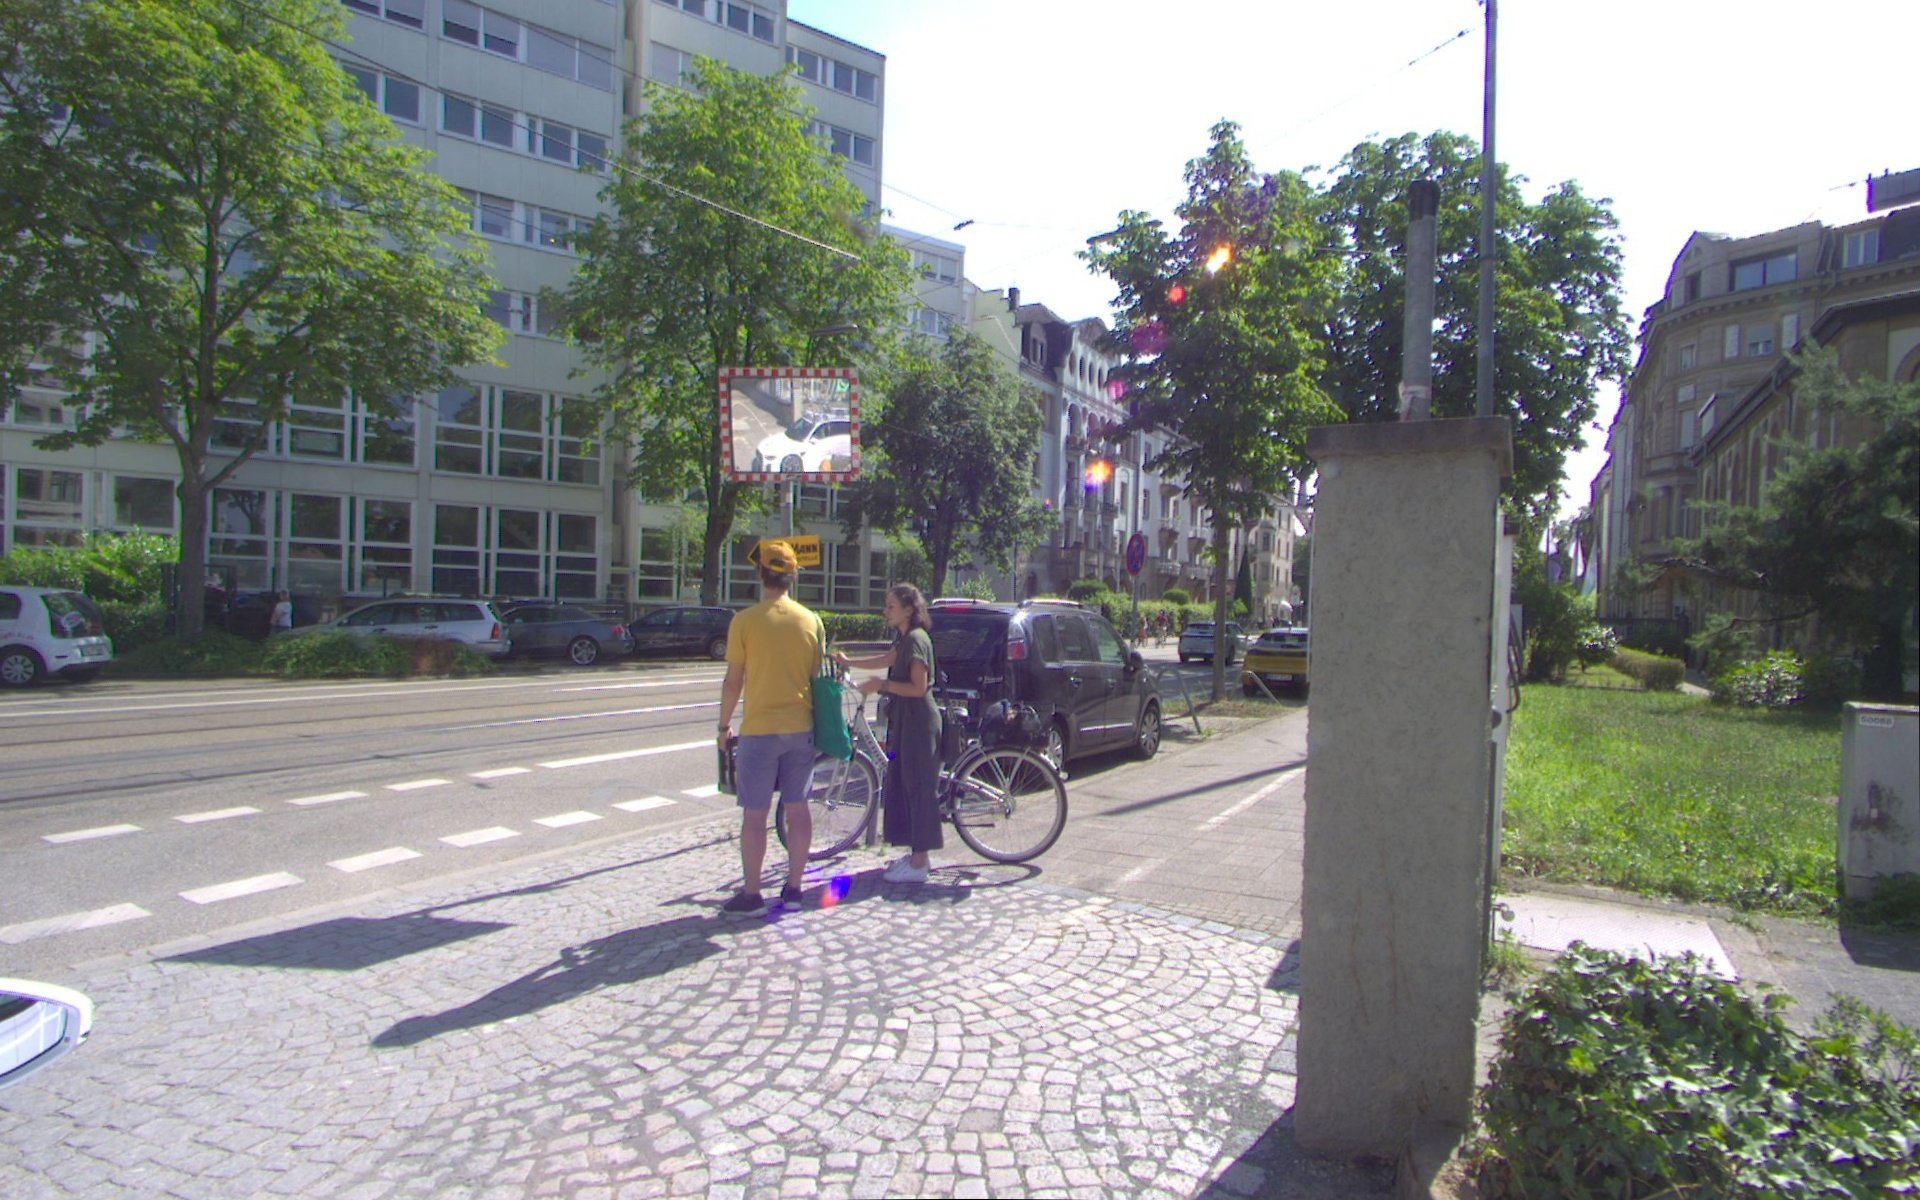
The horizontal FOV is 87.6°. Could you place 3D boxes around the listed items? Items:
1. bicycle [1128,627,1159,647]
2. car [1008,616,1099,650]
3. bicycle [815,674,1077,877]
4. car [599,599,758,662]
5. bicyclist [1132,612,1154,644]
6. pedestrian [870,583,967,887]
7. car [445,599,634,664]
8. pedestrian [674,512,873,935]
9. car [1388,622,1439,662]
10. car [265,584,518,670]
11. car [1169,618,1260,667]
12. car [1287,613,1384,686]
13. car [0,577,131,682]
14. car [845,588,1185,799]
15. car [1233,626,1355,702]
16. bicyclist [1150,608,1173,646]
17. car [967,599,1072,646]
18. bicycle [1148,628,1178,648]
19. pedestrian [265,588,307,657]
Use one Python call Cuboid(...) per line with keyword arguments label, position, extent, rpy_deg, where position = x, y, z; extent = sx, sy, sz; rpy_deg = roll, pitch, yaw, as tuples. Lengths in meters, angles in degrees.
Cuboid(label="bicycle", position=(9.147, 1.835, 49.889), extent=(0.670, 0.929, 2.308), rpy_deg=(2, 0, 32))
Cuboid(label="car", position=(4.566, 1.590, 49.100), extent=(3.929, 1.528, 1.997), rpy_deg=(2, 0, -16))
Cuboid(label="bicycle", position=(-0.082, 1.008, 5.945), extent=(1.484, 1.055, 0.363), rpy_deg=(2, 0, 12))
Cuboid(label="car", position=(-7.368, 0.793, 26.376), extent=(3.875, 1.505, 1.556), rpy_deg=(2, 0, -16))
Cuboid(label="bicyclist", position=(9.109, 1.388, 49.842), extent=(0.793, 1.563, 0.859), rpy_deg=(2, 0, 33))
Cuboid(label="pedestrian", position=(-0.225, 0.738, 5.661), extent=(0.445, 1.642, 0.422), rpy_deg=(-1, -1, 12))
Cuboid(label="car", position=(-9.712, 0.730, 23.424), extent=(3.875, 1.375, 1.556), rpy_deg=(2, 0, -16))
Cuboid(label="pedestrian", position=(-0.890, 0.568, 4.933), extent=(0.838, 1.889, 0.829), rpy_deg=(2, 0, -7))
Cuboid(label="car", position=(21.031, 1.927, 46.397), extent=(1.828, 1.702, 3.984), rpy_deg=(1, -1, 29))
Cuboid(label="car", position=(-11.557, 0.580, 20.681), extent=(4.269, 1.625, 1.555), rpy_deg=(2, -1, -18))
Cuboid(label="car", position=(8.737, 1.403, 34.103), extent=(1.863, 1.427, 4.574), rpy_deg=(4, 1, 29))
Cuboid(label="car", position=(9.947, 1.249, 26.376), extent=(1.828, 1.702, 3.984), rpy_deg=(1, -1, 29))
Cuboid(label="car", position=(-14.996, 0.408, 14.803), extent=(3.874, 1.506, 1.610), rpy_deg=(1, 0, -14))
Cuboid(label="car", position=(0.776, 0.808, 10.346), extent=(1.829, 1.706, 3.981), rpy_deg=(1, -1, 31))
Cuboid(label="car", position=(7.394, 1.319, 21.929), extent=(1.828, 1.430, 3.984), rpy_deg=(1, -1, 29))
Cuboid(label="bicyclist", position=(9.873, 1.299, 49.009), extent=(0.793, 1.825, 0.859), rpy_deg=(2, 0, 33))
Cuboid(label="car", position=(2.515, 0.949, 42.447), extent=(3.935, 1.884, 1.993), rpy_deg=(2, 0, -23))
Cuboid(label="bicycle", position=(9.961, 1.867, 49.043), extent=(0.670, 0.929, 2.308), rpy_deg=(2, 0, 32))
Cuboid(label="pedestrian", position=(-14.878, 0.495, 22.112), extent=(0.417, 1.480, 0.620), rpy_deg=(2, 0, 27))
